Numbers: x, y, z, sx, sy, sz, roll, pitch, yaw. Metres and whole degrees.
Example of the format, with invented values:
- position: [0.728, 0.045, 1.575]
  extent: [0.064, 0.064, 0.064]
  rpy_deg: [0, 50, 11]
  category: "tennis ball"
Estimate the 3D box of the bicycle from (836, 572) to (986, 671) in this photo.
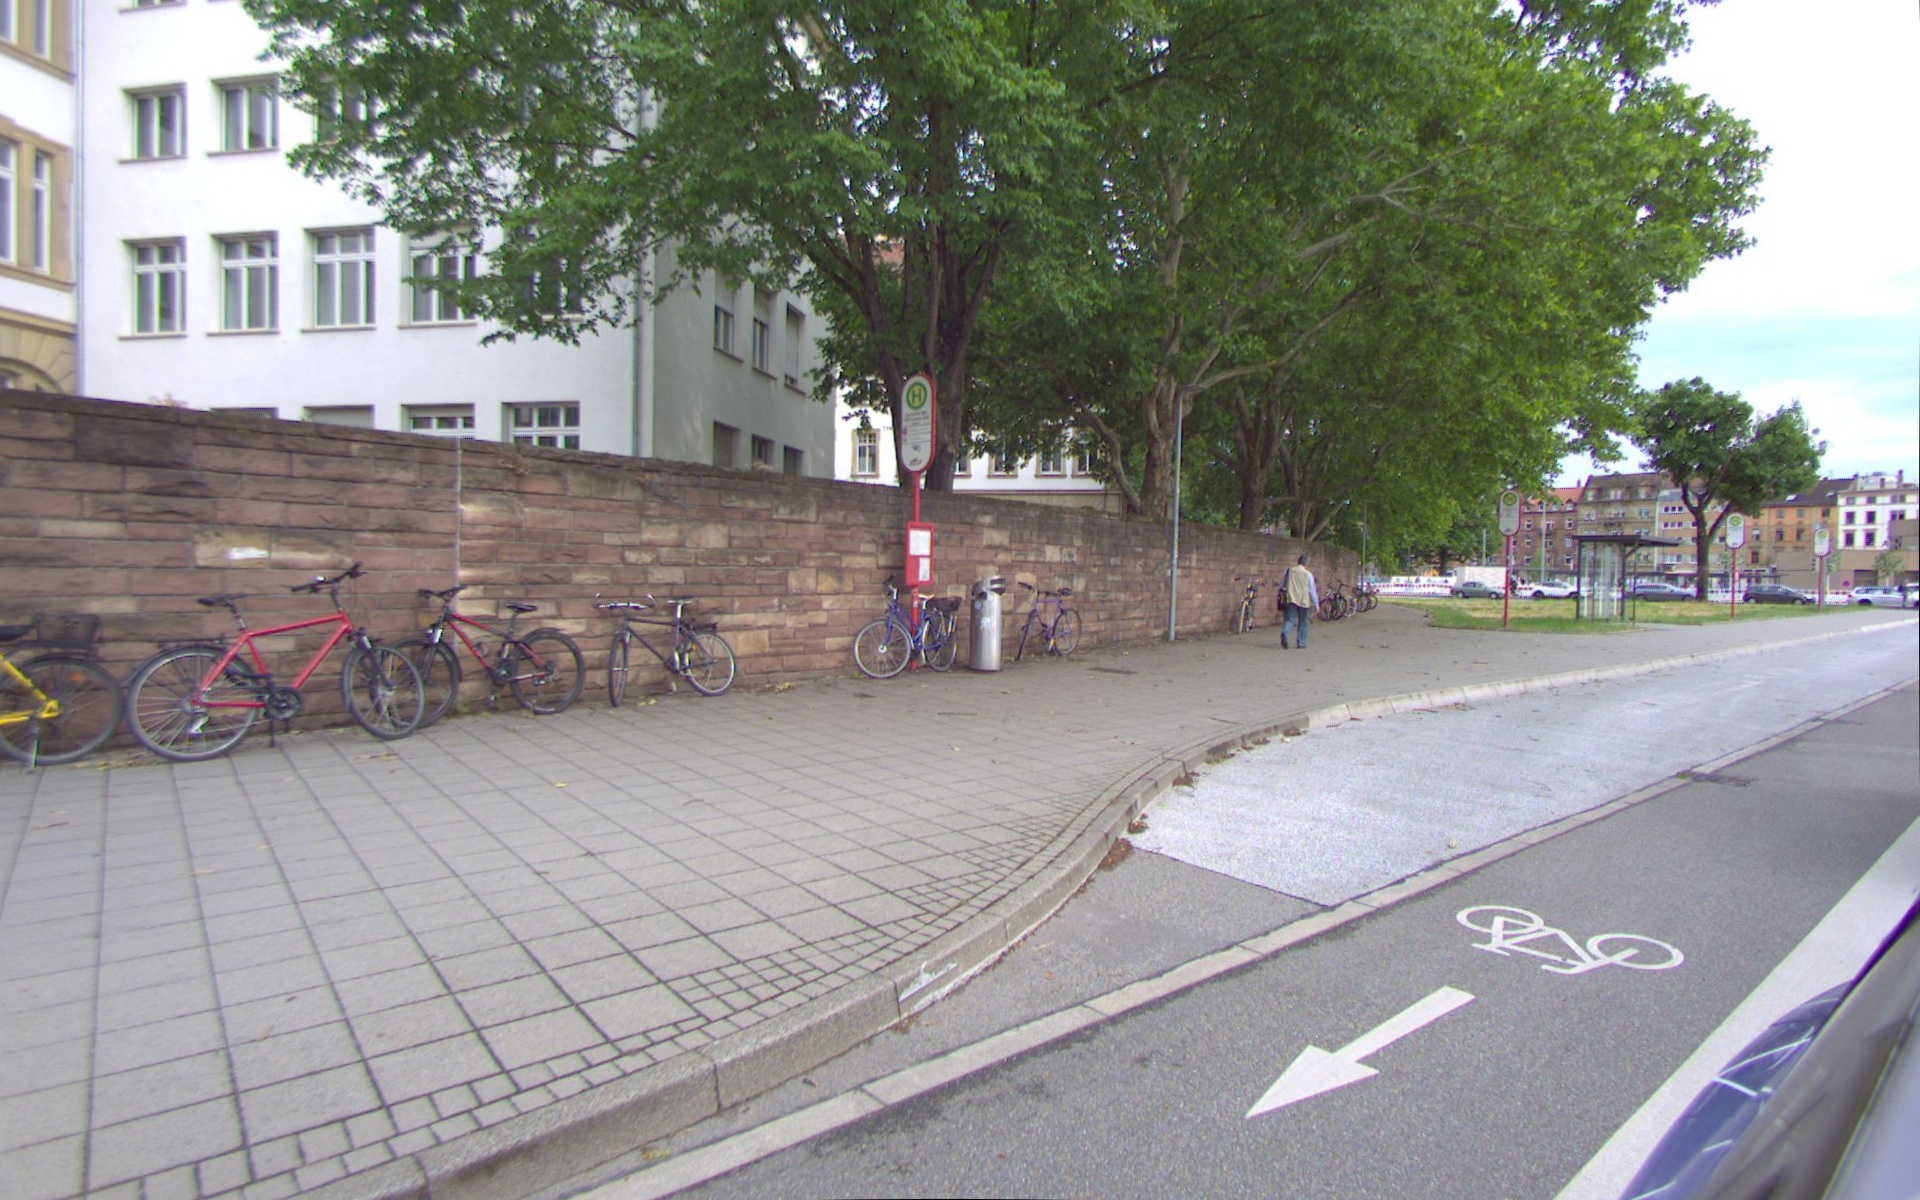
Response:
- position: [-0.539, 0.218, 12.067]
  extent: [0.476, 1.089, 2.051]
  rpy_deg: [2, 2, 42]
  category: "bicycle"

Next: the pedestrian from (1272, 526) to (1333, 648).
- position: [5.923, -0.253, 17.491]
  extent: [0.778, 2.038, 0.879]
  rpy_deg: [2, 3, 32]
  category: "pedestrian"

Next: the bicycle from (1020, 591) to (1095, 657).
- position: [1.435, 0.326, 14.692]
  extent: [0.290, 0.896, 1.590]
  rpy_deg: [2, 2, 36]
  category: "bicycle"

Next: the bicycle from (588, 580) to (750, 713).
- position: [-2.711, 0.397, 9.593]
  extent: [0.336, 1.158, 1.658]
  rpy_deg: [0, 0, 33]
  category: "bicycle"

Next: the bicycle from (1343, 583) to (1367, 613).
- position: [13.147, -0.069, 33.653]
  extent: [0.563, 0.951, 1.752]
  rpy_deg: [2, 2, 26]
  category: "bicycle"

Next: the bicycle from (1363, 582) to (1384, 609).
- position: [17.270, -0.193, 42.223]
  extent: [0.686, 1.098, 1.639]
  rpy_deg: [2, 2, 26]
  category: "bicycle"

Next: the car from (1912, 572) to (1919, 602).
- position: [67.075, -0.884, 67.877]
  extent: [4.242, 2.039, 1.982]
  rpy_deg: [0, 0, 26]
  category: "car"

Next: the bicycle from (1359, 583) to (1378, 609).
- position: [15.551, -0.154, 38.478]
  extent: [0.555, 0.951, 1.342]
  rpy_deg: [2, 2, 26]
  category: "bicycle"

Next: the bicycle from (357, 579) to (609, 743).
- position: [-3.702, 0.417, 8.037]
  extent: [0.336, 1.158, 1.919]
  rpy_deg: [0, 0, 33]
  category: "bicycle"

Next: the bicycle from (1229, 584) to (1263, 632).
- position: [6.004, 0.143, 21.185]
  extent: [0.361, 0.951, 1.626]
  rpy_deg: [2, 2, 27]
  category: "bicycle"

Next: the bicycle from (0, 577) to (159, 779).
- position: [-5.777, 0.450, 5.757]
  extent: [0.383, 1.158, 1.922]
  rpy_deg: [0, 0, 29]
  category: "bicycle"

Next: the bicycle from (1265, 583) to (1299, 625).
- position: [7.791, 0.074, 24.429]
  extent: [0.477, 0.951, 1.882]
  rpy_deg: [2, 2, 27]
  category: "bicycle"

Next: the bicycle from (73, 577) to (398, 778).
- position: [-4.739, 0.434, 6.808]
  extent: [0.381, 1.158, 1.930]
  rpy_deg: [0, 0, 18]
  category: "bicycle"

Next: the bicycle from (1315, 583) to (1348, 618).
- position: [10.680, -0.009, 29.061]
  extent: [0.648, 0.951, 1.939]
  rpy_deg: [2, 2, 27]
  category: "bicycle"
